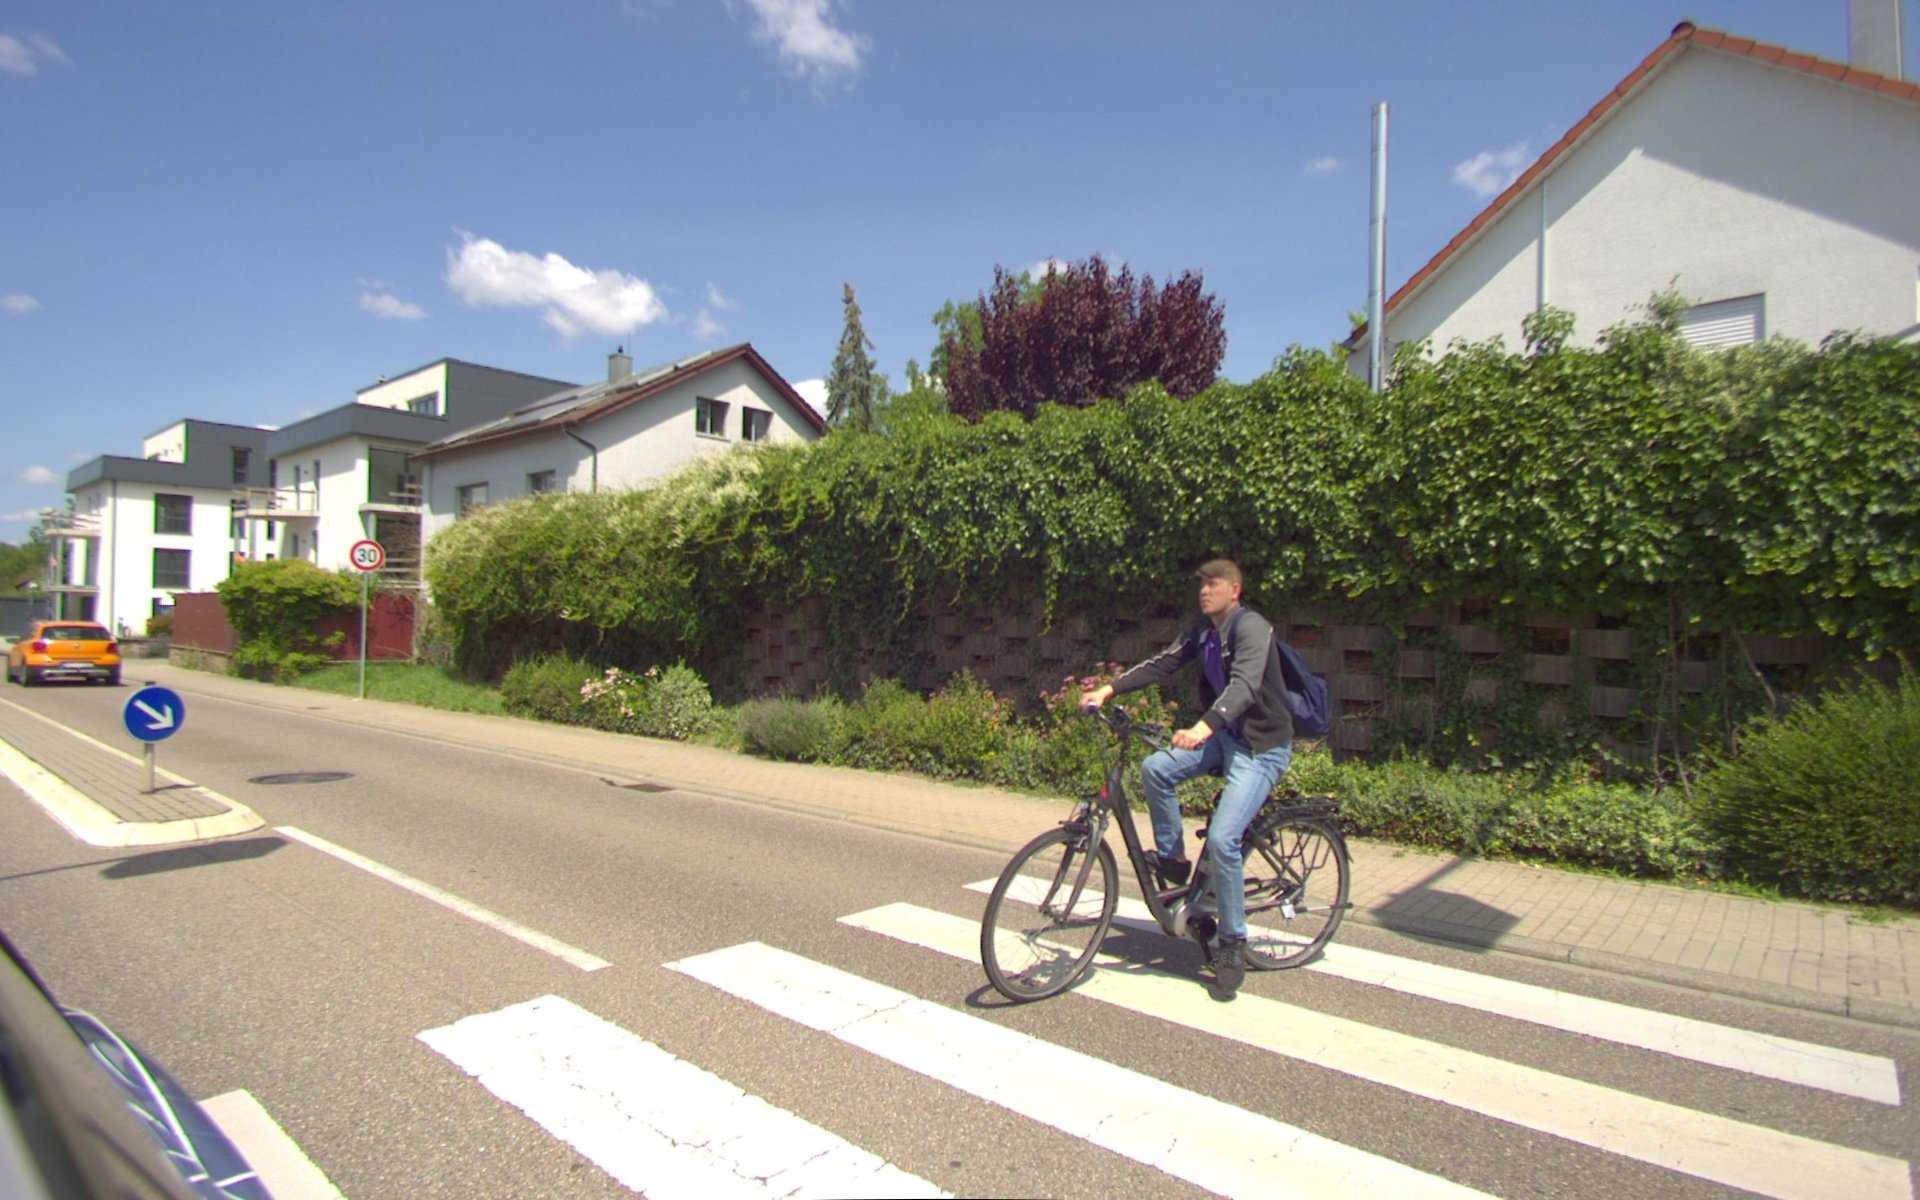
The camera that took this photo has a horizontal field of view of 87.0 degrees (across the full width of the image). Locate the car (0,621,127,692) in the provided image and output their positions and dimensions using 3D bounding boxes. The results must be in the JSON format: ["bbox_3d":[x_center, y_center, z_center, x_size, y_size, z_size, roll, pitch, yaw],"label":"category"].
[{"bbox_3d":[-20.550,1.247,23.066,3.611,1.500,1.776,-1,-3,41],"label":"car"}]

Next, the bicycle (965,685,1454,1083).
[{"bbox_3d":[1.042,0.954,4.026,1.910,1.174,0.808,3,-3,-34],"label":"bicycle"}]

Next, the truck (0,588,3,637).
[{"bbox_3d":[-39.465,0.865,39.107,6.787,2.731,2.827,0,-3,41],"label":"truck"}]

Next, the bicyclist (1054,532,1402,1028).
[{"bbox_3d":[1.062,0.623,4.017,1.093,1.642,0.808,3,-3,-34],"label":"bicyclist"}]
